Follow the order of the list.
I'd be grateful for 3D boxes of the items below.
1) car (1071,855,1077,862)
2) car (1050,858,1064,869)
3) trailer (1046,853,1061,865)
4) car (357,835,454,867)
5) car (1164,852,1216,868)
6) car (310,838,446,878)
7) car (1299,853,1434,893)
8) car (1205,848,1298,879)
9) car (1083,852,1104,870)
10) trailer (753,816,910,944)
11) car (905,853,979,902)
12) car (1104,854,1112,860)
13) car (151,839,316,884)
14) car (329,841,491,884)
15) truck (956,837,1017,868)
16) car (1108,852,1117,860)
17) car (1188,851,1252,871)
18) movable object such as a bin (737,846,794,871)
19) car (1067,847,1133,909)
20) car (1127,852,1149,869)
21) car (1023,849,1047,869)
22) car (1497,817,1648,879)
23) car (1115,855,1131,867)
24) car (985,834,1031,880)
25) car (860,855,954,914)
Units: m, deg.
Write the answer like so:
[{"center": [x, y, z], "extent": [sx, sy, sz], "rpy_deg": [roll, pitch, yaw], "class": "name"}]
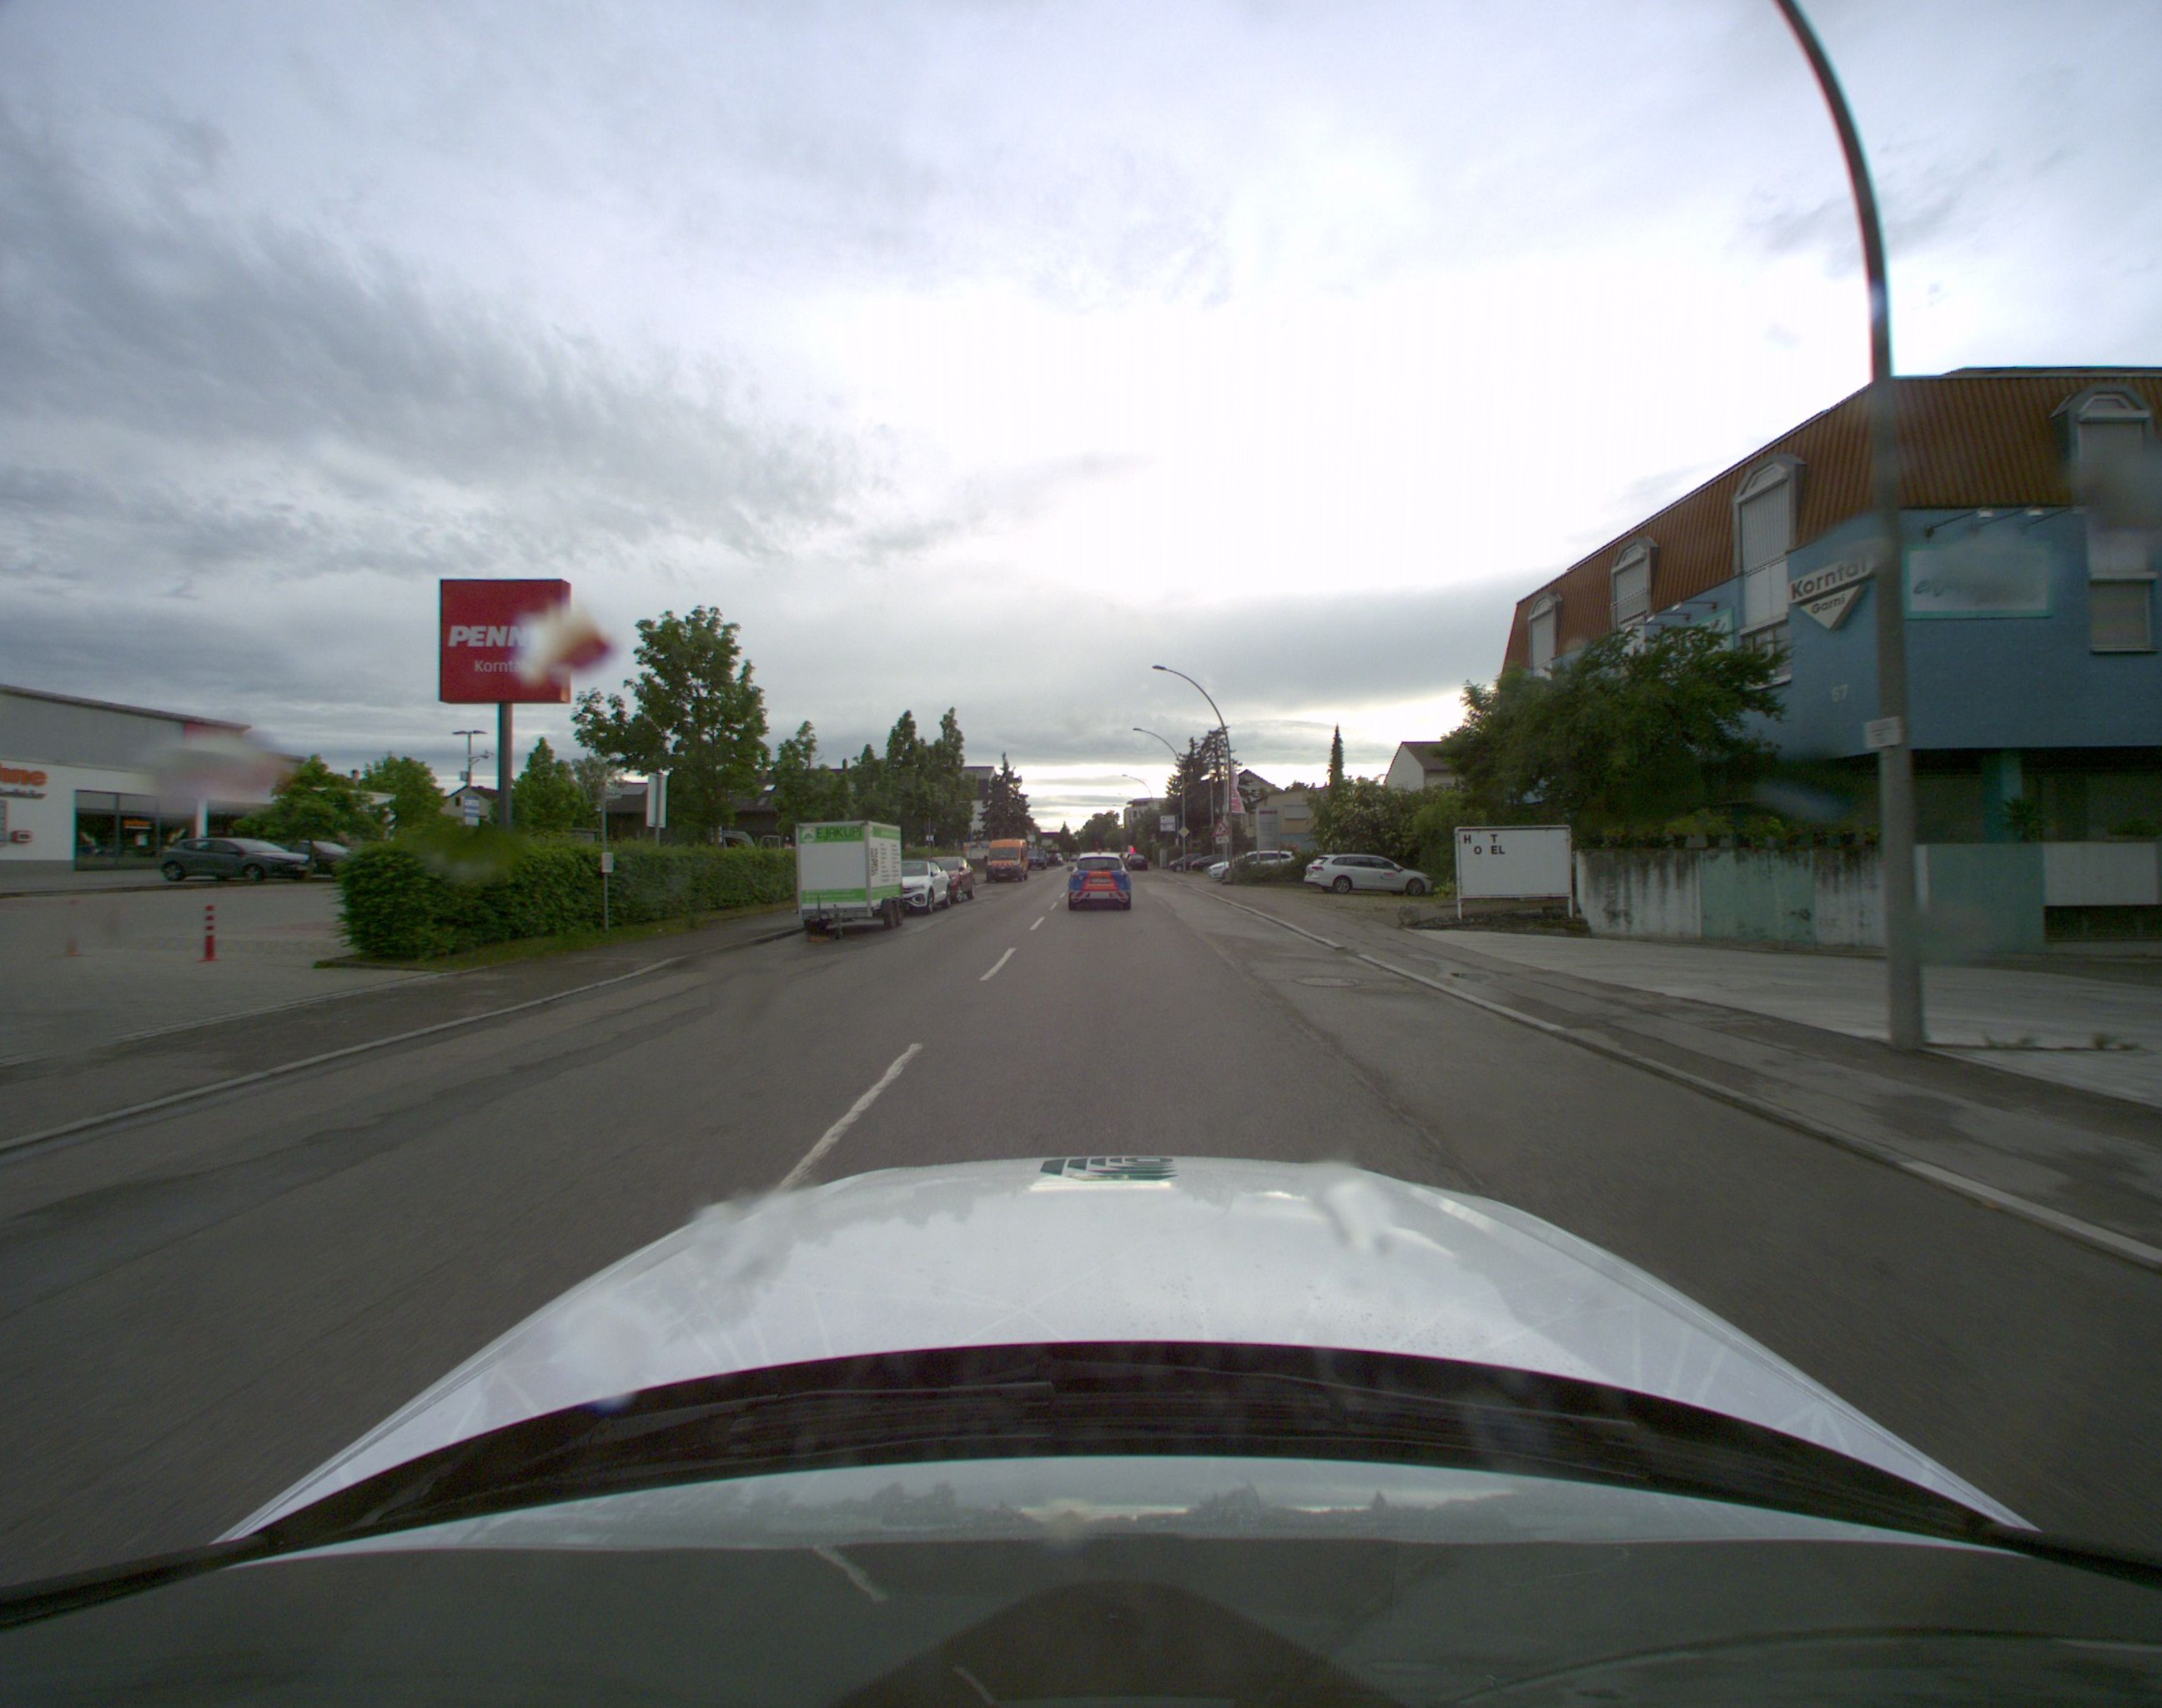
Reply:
[{"center": [-1.528, 0.946, 184.250], "extent": [1.382, 1.483, 3.783], "rpy_deg": [-1, 0, -1], "class": "car"}, {"center": [-3.122, 1.190, 106.034], "extent": [1.552, 1.433, 4.001], "rpy_deg": [0, 0, 1], "class": "car"}, {"center": [-3.317, 0.613, 98.215], "extent": [1.712, 1.260, 5.243], "rpy_deg": [1, 2, -1], "class": "trailer"}, {"center": [-49.066, -0.228, 59.244], "extent": [5.217, 2.240, 1.972], "rpy_deg": [1, -1, -5], "class": "car"}, {"center": [8.767, 0.495, 65.708], "extent": [3.975, 1.266, 1.950], "rpy_deg": [0, -1, -1], "class": "car"}, {"center": [-29.451, 0.174, 34.238], "extent": [3.982, 1.606, 1.768], "rpy_deg": [1, -1, -7], "class": "car"}, {"center": [10.529, 0.686, 30.273], "extent": [4.401, 1.393, 1.880], "rpy_deg": [0, -1, 0], "class": "car"}, {"center": [8.489, 0.469, 40.811], "extent": [4.324, 1.475, 1.902], "rpy_deg": [0, -1, 0], "class": "car"}, {"center": [1.066, 0.582, 70.695], "extent": [1.645, 1.521, 3.999], "rpy_deg": [0, 0, -1], "class": "car"}, {"center": [-5.218, 0.486, 17.770], "extent": [1.806, 2.314, 4.730], "rpy_deg": [-3, 0, 1], "class": "trailer"}, {"center": [-4.853, 0.769, 28.965], "extent": [1.799, 1.573, 4.343], "rpy_deg": [-1, 0, 1], "class": "car"}, {"center": [6.800, 0.669, 205.372], "extent": [1.645, 1.483, 3.999], "rpy_deg": [0, 0, -1], "class": "car"}, {"center": [-29.139, 0.243, 28.088], "extent": [3.883, 1.496, 1.452], "rpy_deg": [0, 1, -6], "class": "car"}, {"center": [-23.223, 0.295, 28.306], "extent": [3.968, 1.387, 1.801], "rpy_deg": [1, -1, -4], "class": "car"}, {"center": [-9.652, -0.111, 83.597], "extent": [5.890, 3.073, 2.450], "rpy_deg": [0, -1, 1], "class": "truck"}, {"center": [6.734, 0.519, 173.431], "extent": [1.645, 1.671, 3.999], "rpy_deg": [0, 0, -1], "class": "car"}, {"center": [9.175, 0.486, 54.025], "extent": [3.971, 1.266, 1.952], "rpy_deg": [0, -1, 2], "class": "car"}, {"center": [-23.019, 0.354, 59.483], "extent": [3.417, 1.759, 1.996], "rpy_deg": [1, -1, -6], "class": "movable object such as a bin"}, {"center": [0.517, 0.640, 23.304], "extent": [1.726, 1.631, 3.494], "rpy_deg": [-1, 0, 0], "class": "car"}, {"center": [4.922, 0.543, 71.048], "extent": [1.584, 1.341, 4.091], "rpy_deg": [1, 0, 0], "class": "car"}, {"center": [-4.464, 0.495, 80.371], "extent": [1.987, 1.947, 5.365], "rpy_deg": [0, -1, 1], "class": "car"}, {"center": [15.135, -0.162, 25.426], "extent": [1.988, 1.740, 4.427], "rpy_deg": [1, 0, -1], "class": "car"}, {"center": [5.267, 0.882, 103.052], "extent": [1.706, 1.438, 4.524], "rpy_deg": [0, 0, -1], "class": "car"}, {"center": [-4.307, 0.163, 49.039], "extent": [2.117, 2.537, 6.022], "rpy_deg": [-1, 0, 1], "class": "car"}, {"center": [-4.926, 0.806, 23.594], "extent": [1.766, 1.498, 4.137], "rpy_deg": [-1, 1, 1], "class": "car"}]
